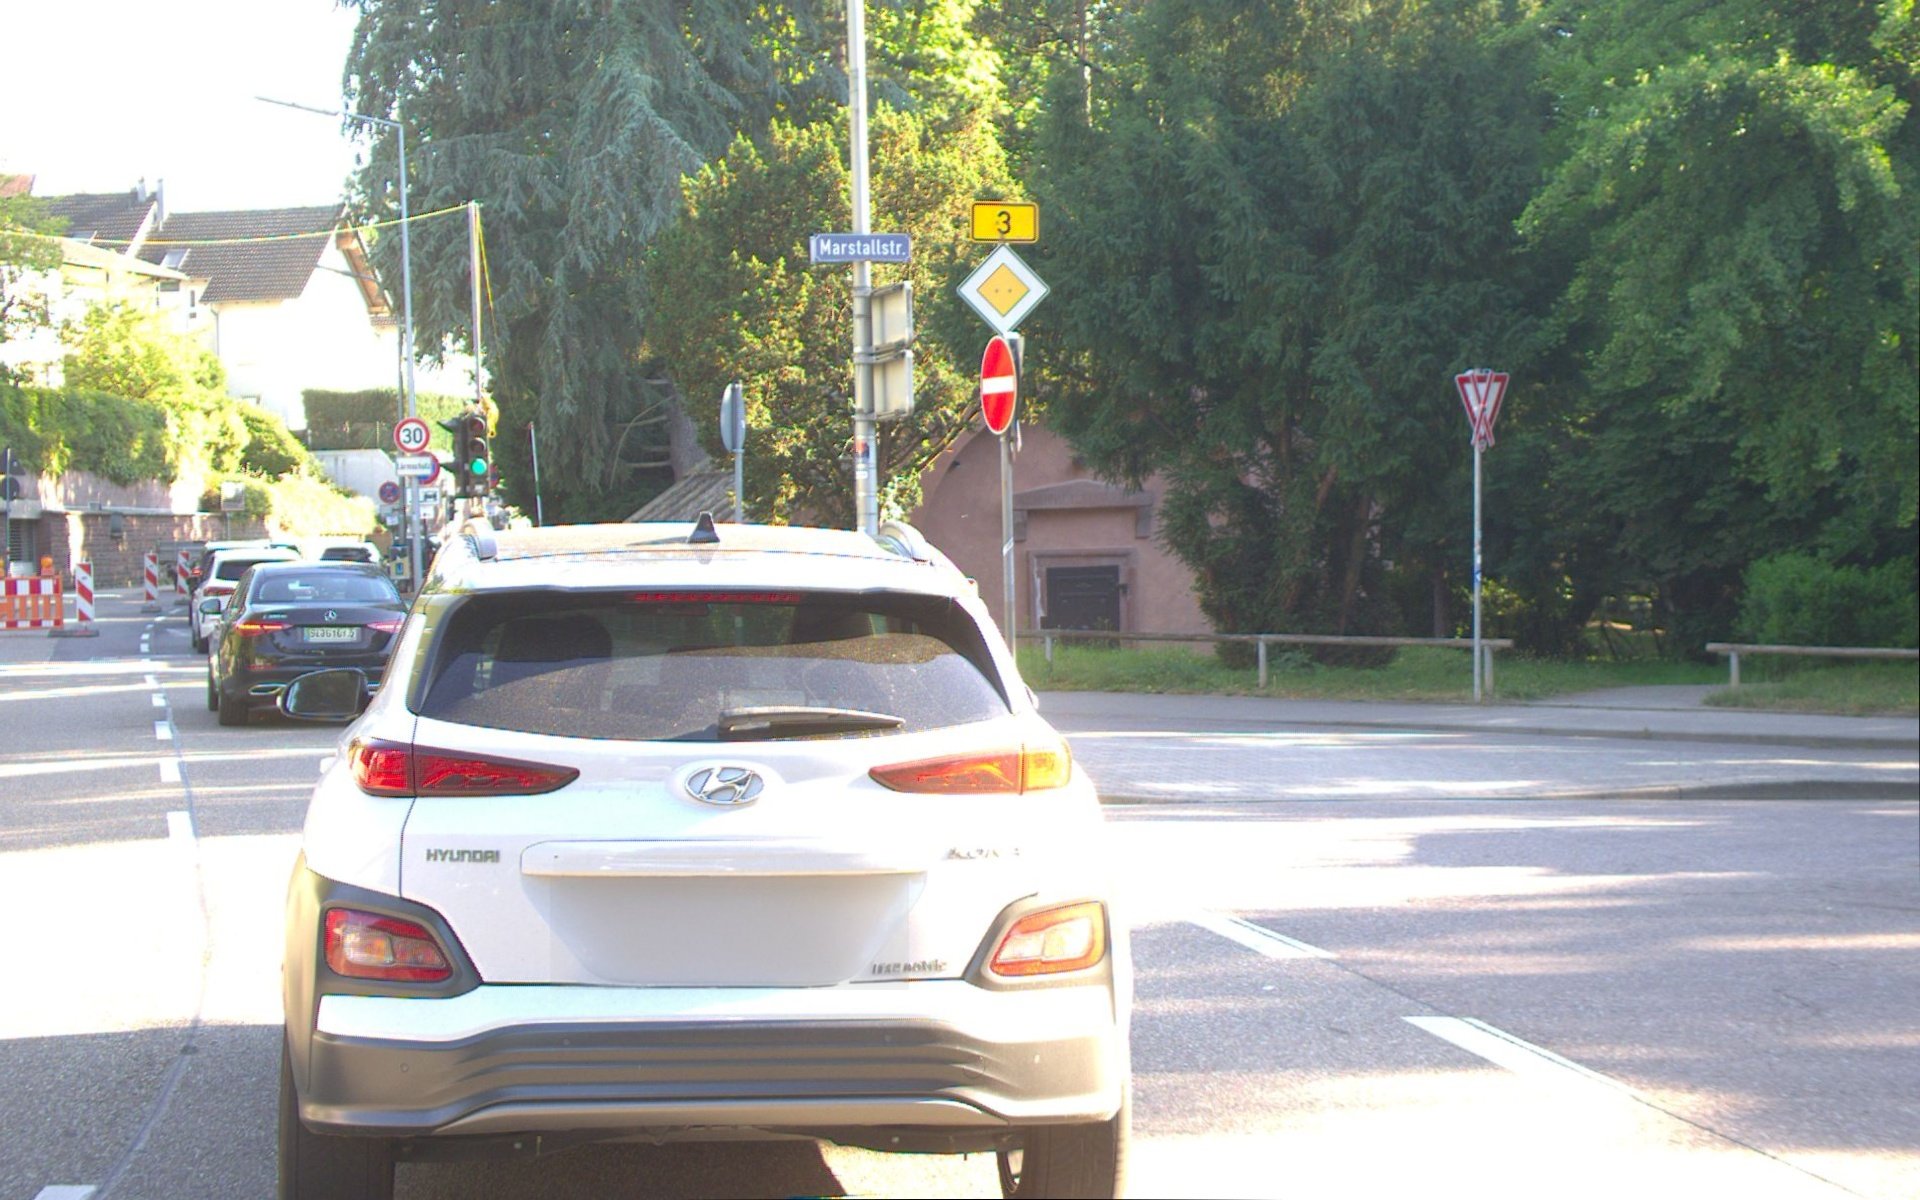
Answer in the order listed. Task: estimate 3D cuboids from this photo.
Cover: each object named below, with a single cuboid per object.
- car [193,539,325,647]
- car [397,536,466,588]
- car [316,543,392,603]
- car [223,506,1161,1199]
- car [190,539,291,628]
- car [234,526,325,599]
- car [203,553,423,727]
[{"bbox_3d":[-10.619,-0.130,51.920,1.805,1.532,4.001,1,1,-13],"label":"car"},{"bbox_3d":[-17.402,-1.255,113.270,1.831,1.656,4.001,1,1,-3],"label":"car"},{"bbox_3d":[-17.444,-0.800,99.141,1.831,1.656,4.001,1,1,-5],"label":"car"},{"bbox_3d":[-0.769,0.572,8.726,1.820,1.568,4.001,1,1,-7],"label":"car"},{"bbox_3d":[-14.024,-0.338,67.141,1.831,1.656,4.001,1,1,-11],"label":"car"},{"bbox_3d":[-16.854,-0.950,85.279,1.831,1.735,4.001,1,1,-6],"label":"car"},{"bbox_3d":[-5.977,0.319,31.430,1.707,1.429,4.366,1,1,-14],"label":"car"}]
